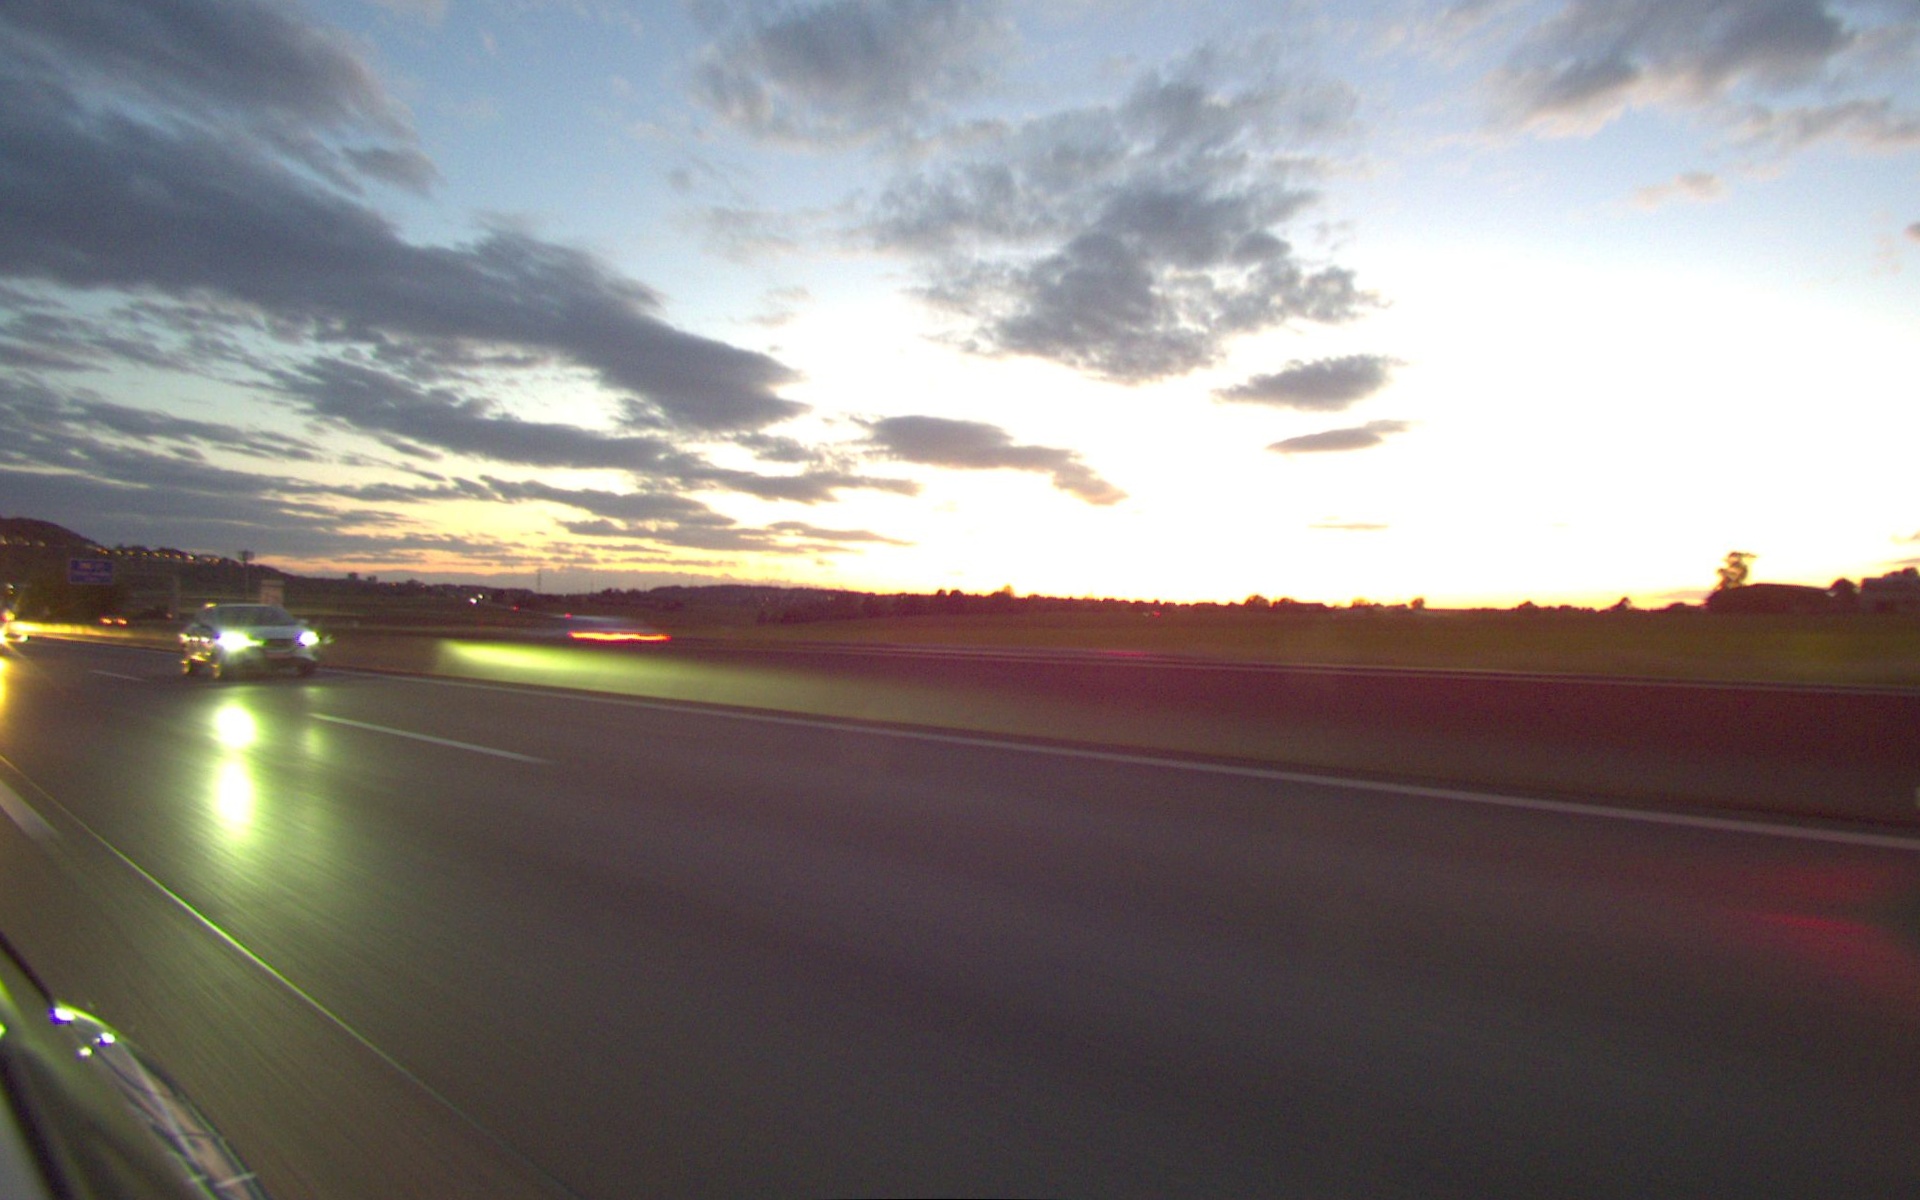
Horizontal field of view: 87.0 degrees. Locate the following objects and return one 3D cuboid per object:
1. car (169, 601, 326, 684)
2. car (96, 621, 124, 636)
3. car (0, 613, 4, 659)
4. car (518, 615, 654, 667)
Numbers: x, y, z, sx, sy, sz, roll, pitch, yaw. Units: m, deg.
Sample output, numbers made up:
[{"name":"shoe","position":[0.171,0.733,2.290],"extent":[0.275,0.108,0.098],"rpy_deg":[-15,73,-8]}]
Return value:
[{"name":"car","position":[-16.197,0.865,22.893],"extent":[4.854,1.660,1.795],"rpy_deg":[0,1,41]},{"name":"car","position":[-94.560,3.142,112.556],"extent":[4.518,1.546,1.641],"rpy_deg":[0,1,41]},{"name":"car","position":[-34.712,1.231,35.162],"extent":[4.157,1.552,1.778],"rpy_deg":[0,1,41]},{"name":"car","position":[-10.869,1.126,29.227],"extent":[4.703,1.310,1.654],"rpy_deg":[0,1,41]}]
